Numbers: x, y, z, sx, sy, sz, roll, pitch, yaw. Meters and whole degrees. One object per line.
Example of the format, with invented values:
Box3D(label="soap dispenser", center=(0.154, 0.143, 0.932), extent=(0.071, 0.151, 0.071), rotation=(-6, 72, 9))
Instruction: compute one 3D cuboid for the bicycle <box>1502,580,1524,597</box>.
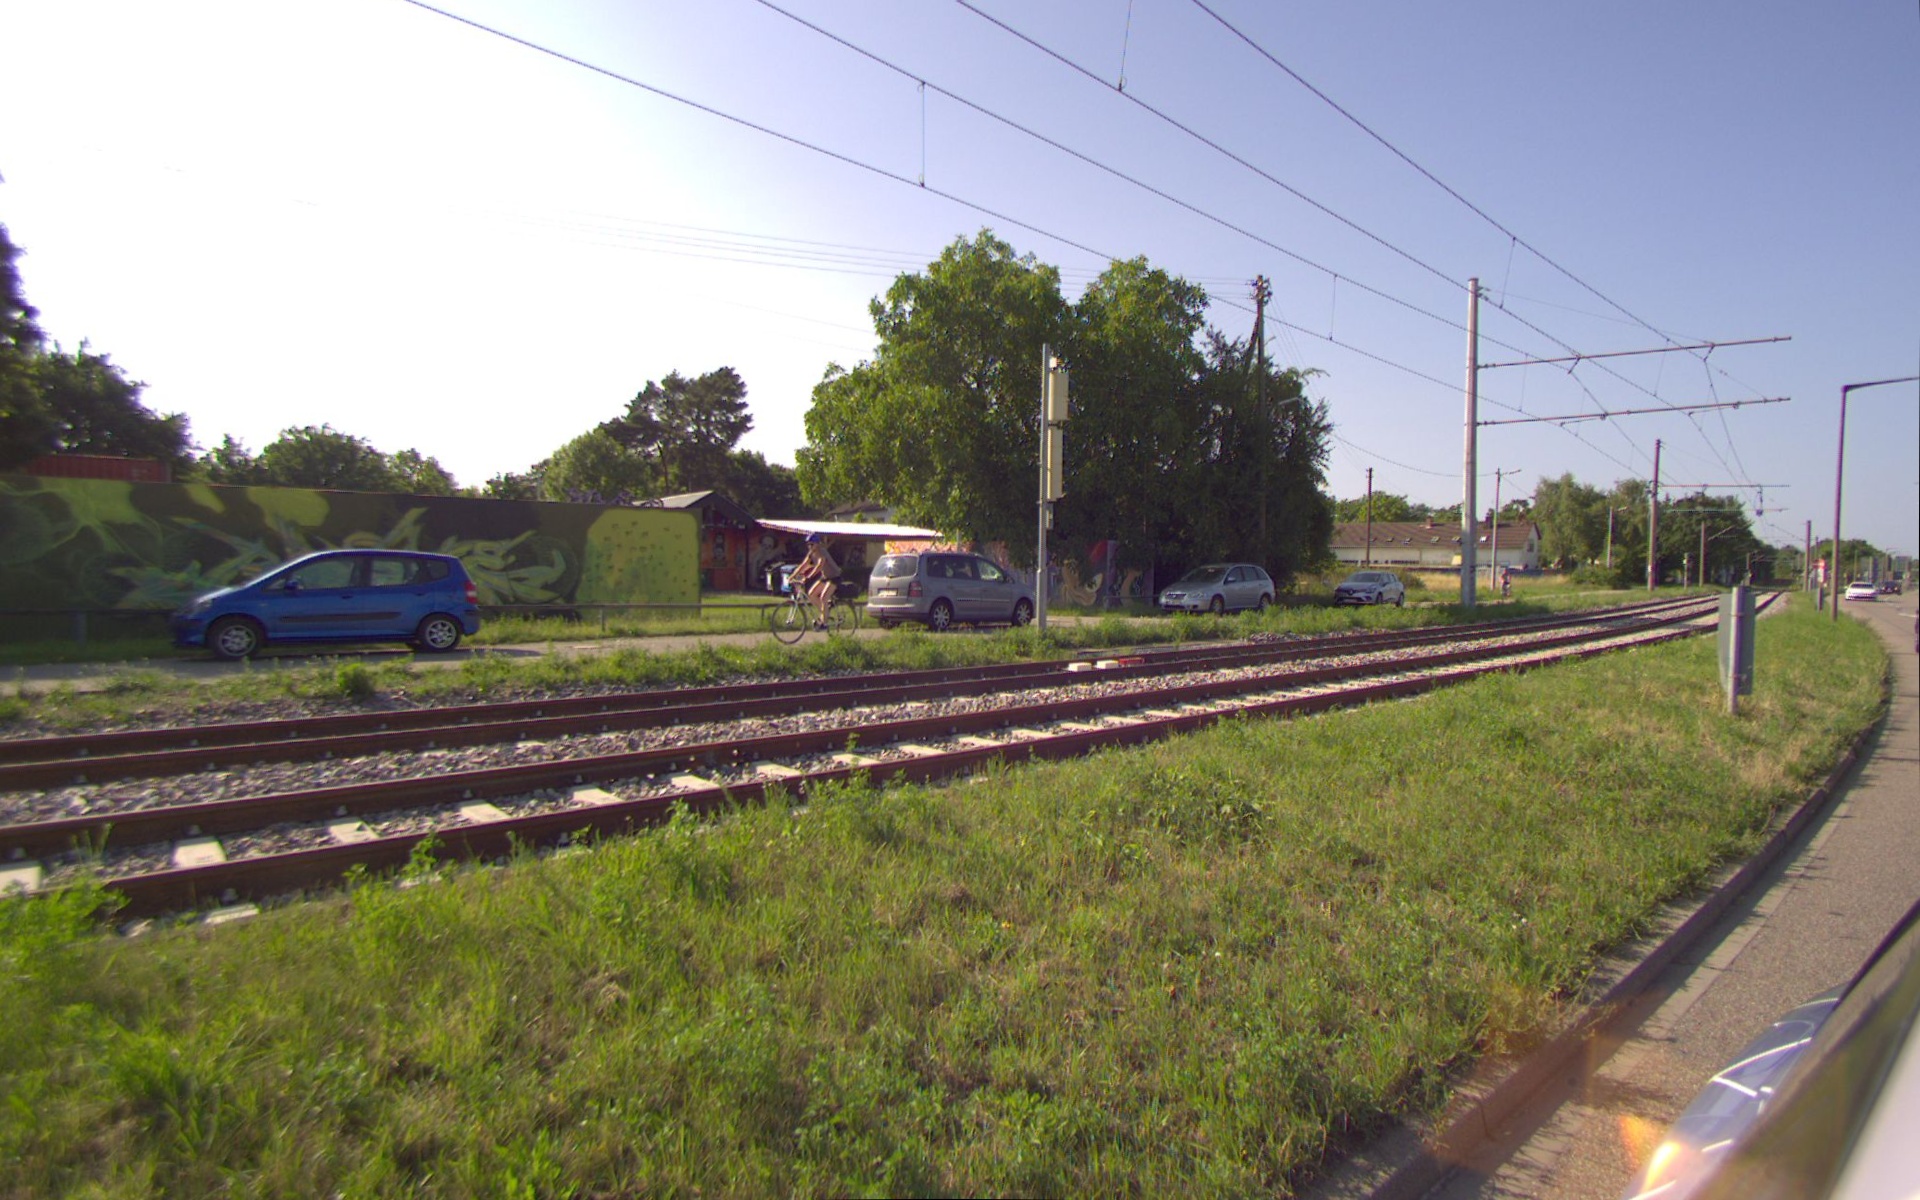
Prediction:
Box3D(label="bicycle", center=(30.905, -0.659, 56.584), extent=(0.643, 0.921, 1.785), rotation=(1, 1, 43))

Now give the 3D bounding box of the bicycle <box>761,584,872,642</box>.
Box3D(label="bicycle", center=(-2.386, 0.192, 16.963), extent=(1.813, 0.921, 0.643), rotation=(-1, 1, -43))

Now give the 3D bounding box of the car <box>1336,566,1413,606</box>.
Box3D(label="car", center=(16.174, -0.553, 39.397), extent=(1.533, 1.466, 4.070), rotation=(3, 3, 41))

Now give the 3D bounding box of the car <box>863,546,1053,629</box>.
Box3D(label="car", center=(0.063, -0.292, 22.013), extent=(1.522, 1.630, 4.415), rotation=(3, 3, 43))

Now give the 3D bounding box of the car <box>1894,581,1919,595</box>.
Box3D(label="car", center=(107.704, -1.333, 115.160), extent=(1.830, 1.532, 4.093), rotation=(0, 0, 40))

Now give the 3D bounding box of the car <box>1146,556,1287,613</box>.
Box3D(label="car", center=(7.876, -0.481, 30.873), extent=(4.646, 1.610, 1.910), rotation=(0, 3, -42))

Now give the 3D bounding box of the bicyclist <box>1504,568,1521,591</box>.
Box3D(label="bicyclist", center=(30.893, -1.147, 56.565), extent=(0.639, 1.248, 0.779), rotation=(1, 1, 43))

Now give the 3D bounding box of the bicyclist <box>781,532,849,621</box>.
Box3D(label="bicyclist", center=(-2.416, -0.393, 16.925), extent=(0.946, 1.440, 0.630), rotation=(-1, 1, -43))

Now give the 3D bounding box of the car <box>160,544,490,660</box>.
Box3D(label="car", center=(-8.990, 0.011, 14.483), extent=(3.840, 1.448, 1.682), rotation=(0, 0, -38))

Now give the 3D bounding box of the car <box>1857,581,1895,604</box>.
Box3D(label="car", center=(68.757, -0.579, 75.989), extent=(1.961, 1.639, 4.244), rotation=(2, 2, 41))
